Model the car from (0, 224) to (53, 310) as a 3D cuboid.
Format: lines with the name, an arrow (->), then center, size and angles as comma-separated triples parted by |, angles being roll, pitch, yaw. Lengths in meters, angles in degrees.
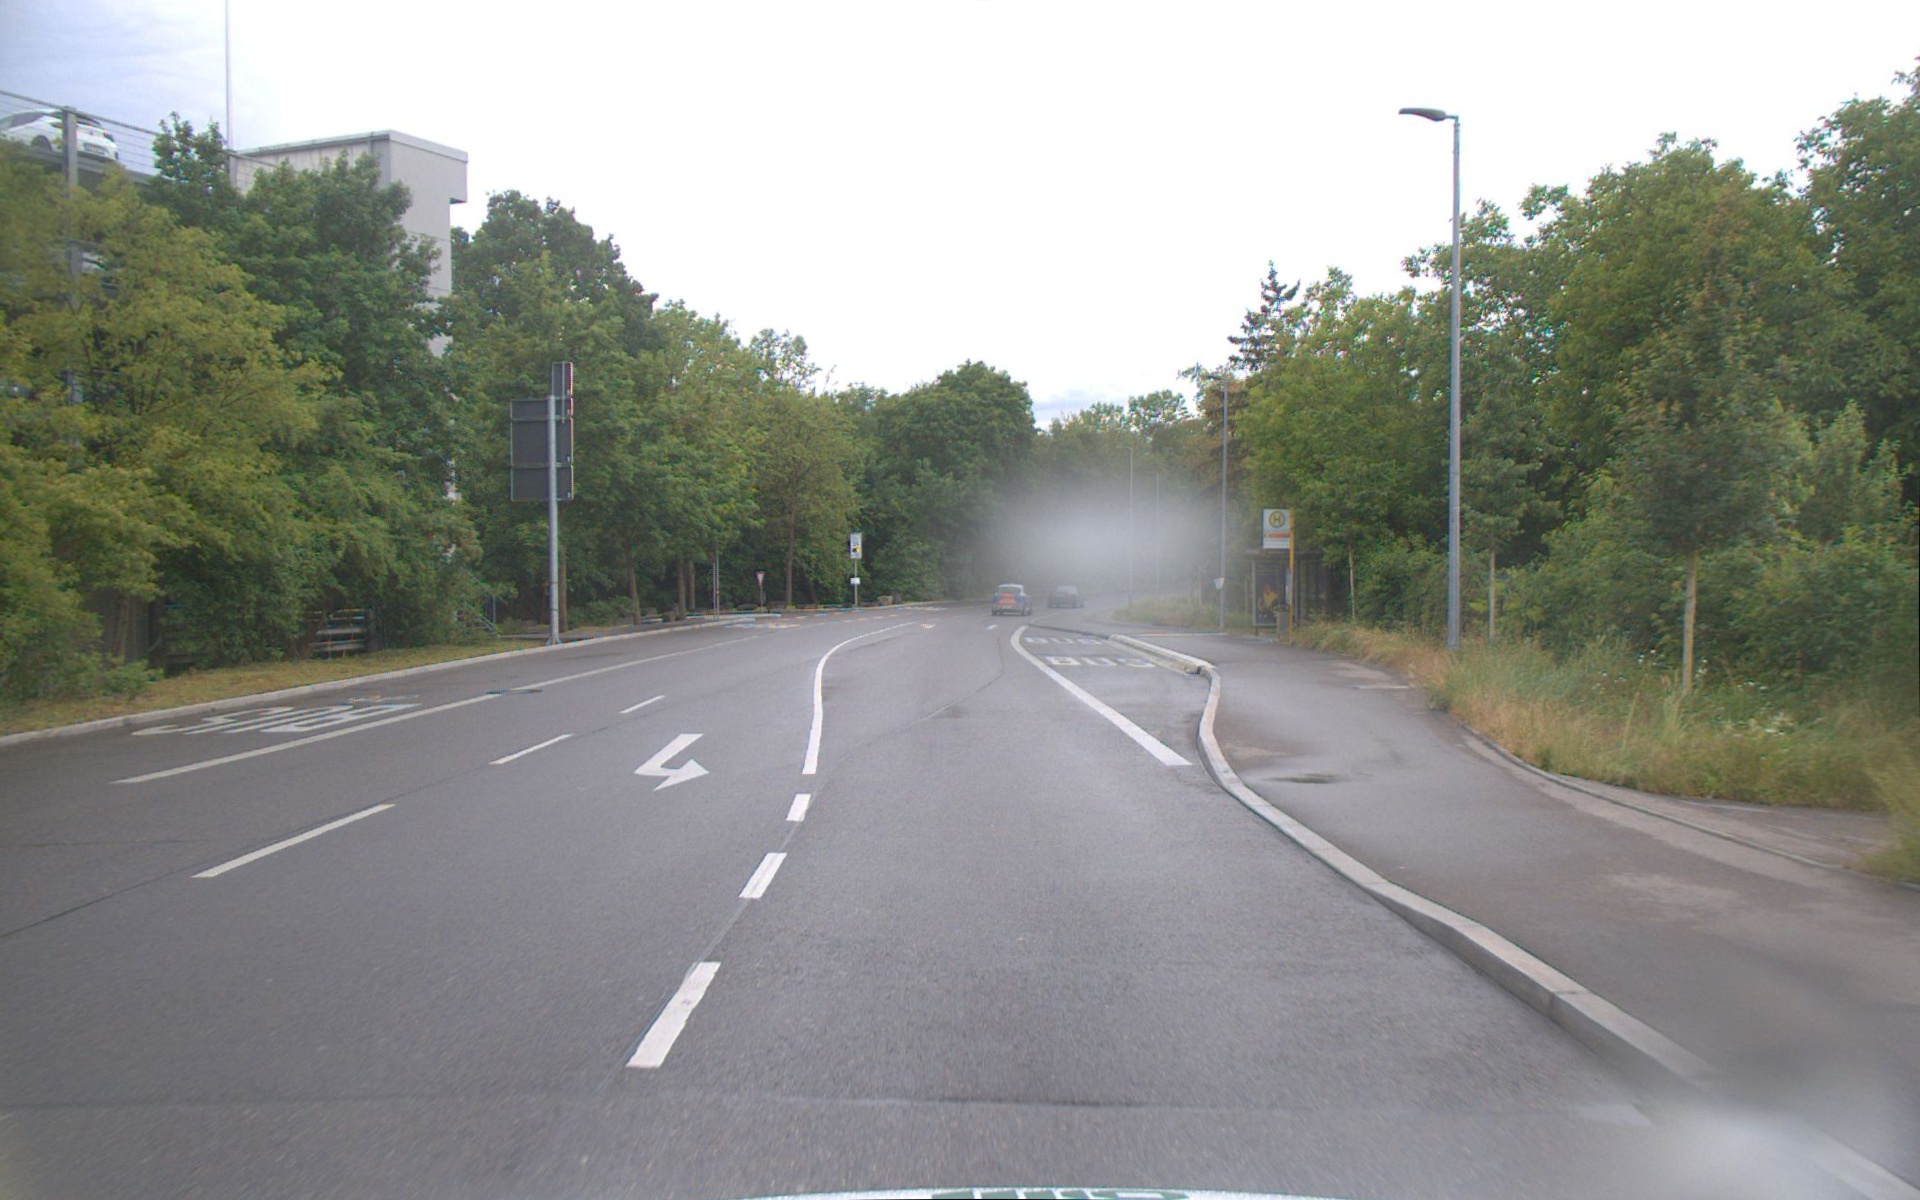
car -> -22.505, -7.500, 37.620 | 3.167, 1.545, 1.586 | -2, 0, 21

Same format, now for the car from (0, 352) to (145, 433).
car -> -21.439, -4.948, 39.754 | 3.167, 1.545, 1.586 | -2, 0, 21

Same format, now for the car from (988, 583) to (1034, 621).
car -> 2.624, 0.072, 84.077 | 1.951, 1.718, 4.004 | -1, 2, 7

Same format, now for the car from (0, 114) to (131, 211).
car -> -21.728, -10.441, 39.613 | 3.167, 1.545, 1.586 | -2, 0, 21

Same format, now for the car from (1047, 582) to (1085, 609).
car -> 6.683, -0.293, 104.388 | 1.886, 1.512, 3.803 | -1, 2, 11

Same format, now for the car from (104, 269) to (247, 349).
car -> -20.387, -7.532, 42.982 | 3.167, 1.545, 1.586 | -2, 0, 21

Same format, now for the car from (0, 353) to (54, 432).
car -> -22.473, -4.657, 37.623 | 3.167, 1.545, 1.586 | -2, 0, 21

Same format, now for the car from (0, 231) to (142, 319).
car -> -21.513, -7.778, 39.748 | 3.167, 1.545, 1.586 | -2, 0, 21
